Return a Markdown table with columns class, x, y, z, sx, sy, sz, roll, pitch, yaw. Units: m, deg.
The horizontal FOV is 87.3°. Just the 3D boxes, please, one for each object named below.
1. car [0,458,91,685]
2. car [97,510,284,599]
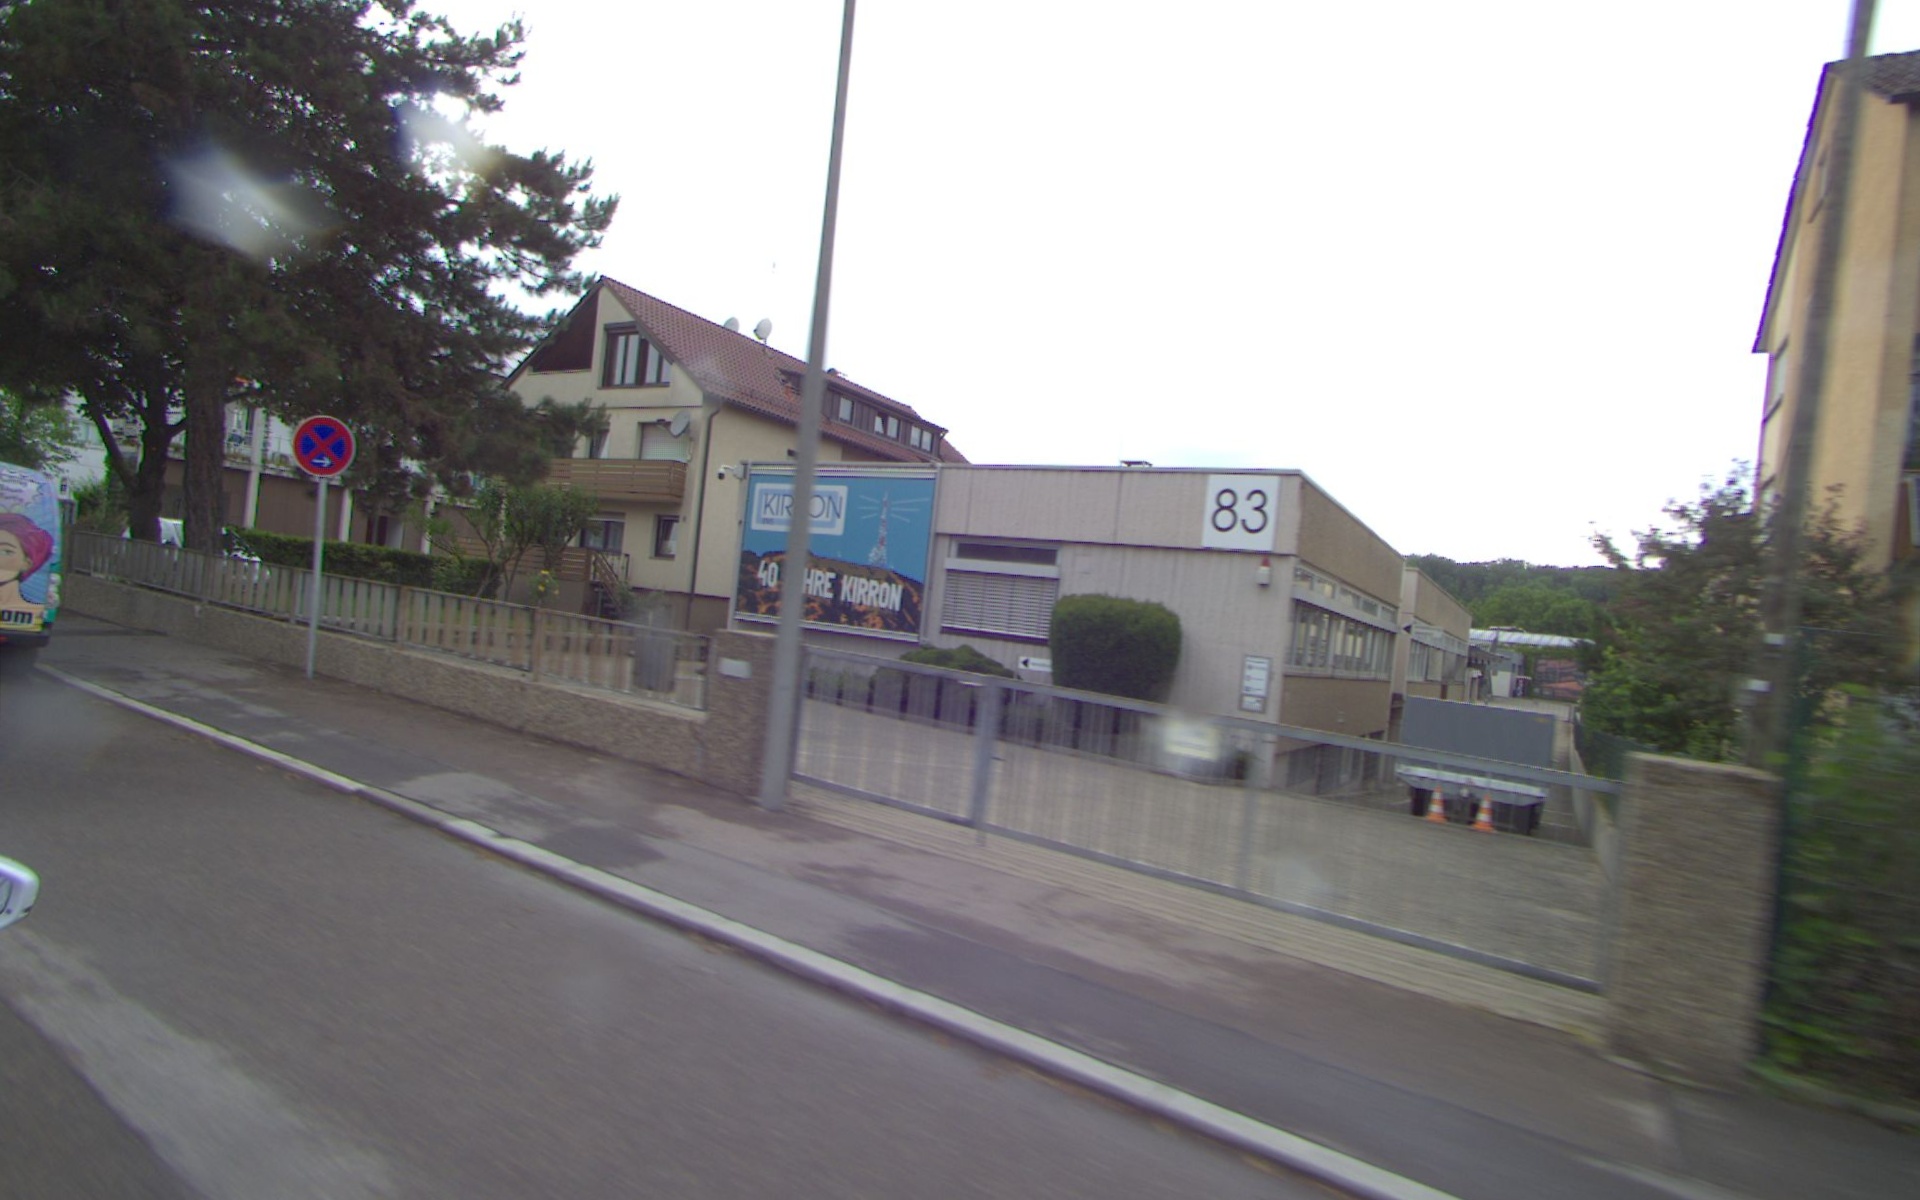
| class | x | y | z | sx | sy | sz | roll | pitch | yaw |
| --- | --- | --- | --- | --- | --- | --- | --- | --- | --- |
| car | -10.401 | -0.525 | 9.541 | 5.464 | 1.848 | 1.735 | 6 | -3 | 34 |
| car | -17.493 | -1.042 | 22.837 | 4.047 | 1.506 | 1.748 | 6 | -1 | 28 |
